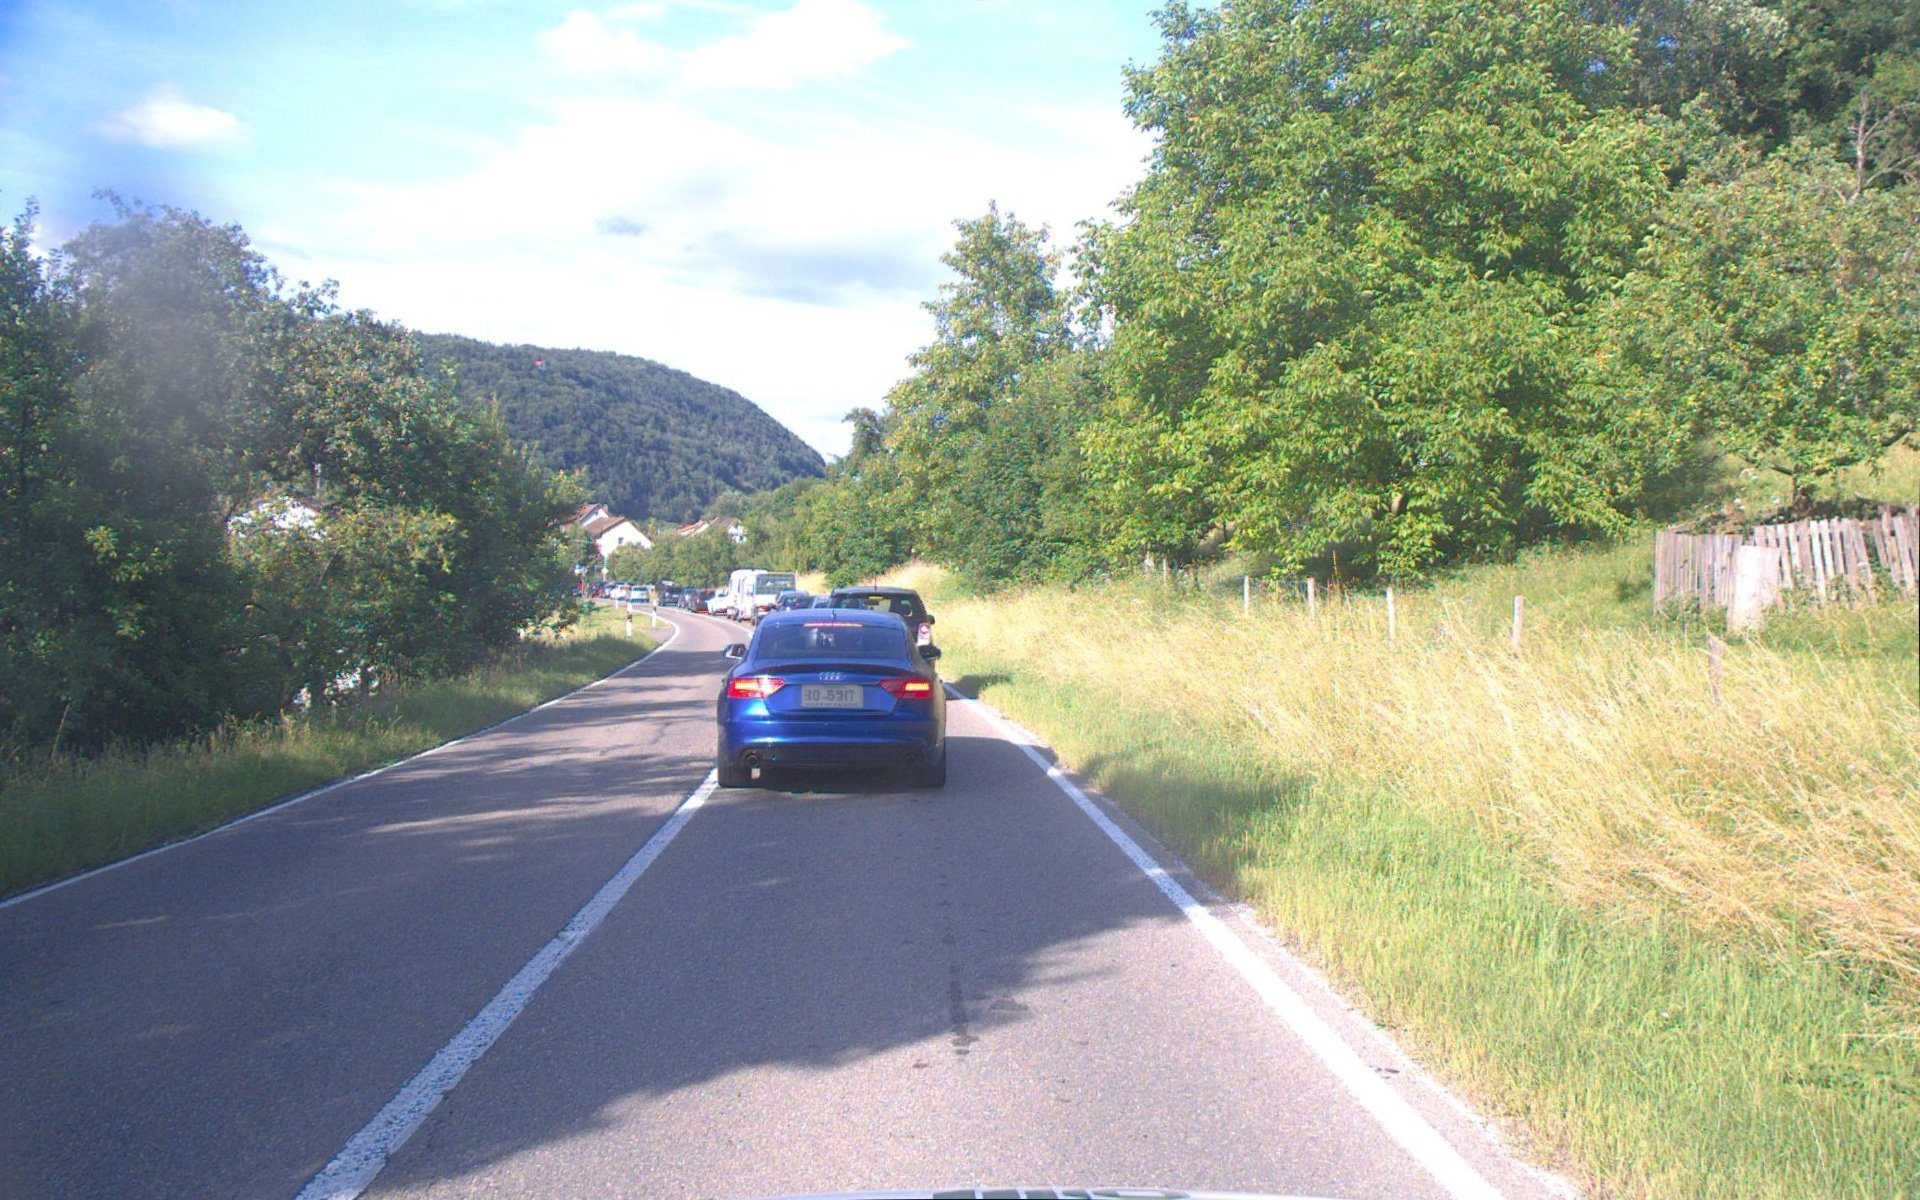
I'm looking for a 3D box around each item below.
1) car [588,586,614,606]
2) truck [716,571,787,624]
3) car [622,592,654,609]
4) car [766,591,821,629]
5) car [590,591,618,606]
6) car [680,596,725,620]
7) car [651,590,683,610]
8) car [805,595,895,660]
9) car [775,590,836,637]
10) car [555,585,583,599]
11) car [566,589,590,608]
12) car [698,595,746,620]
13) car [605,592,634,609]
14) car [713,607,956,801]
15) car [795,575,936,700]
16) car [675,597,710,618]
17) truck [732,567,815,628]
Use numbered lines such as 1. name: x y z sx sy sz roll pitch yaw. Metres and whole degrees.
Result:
1. car: -37.564 -0.373 172.974 1.967 2.049 3.971 1 0 -23
2. truck: -11.513 -0.150 90.661 2.815 2.712 10.609 1 0 -13
3. car: -28.978 0.044 148.593 1.968 1.508 3.969 1 0 -24
4. car: -6.758 0.403 67.022 1.957 1.508 3.991 1 0 -9
5. car: -35.700 -0.166 165.804 1.968 1.508 3.969 1 0 -24
6. car: -16.735 0.489 107.320 1.966 1.508 3.972 1 0 -22
7. car: -23.378 0.014 132.016 1.963 1.508 3.979 1 0 -18
8. car: -2.502 0.621 38.295 1.953 1.411 3.998 1 0 -2
9. car: -5.266 0.459 56.020 1.956 1.508 3.994 1 0 -7
10. car: -39.813 -0.829 168.329 1.968 1.400 3.968 1 0 -25
11. car: -43.127 -0.176 186.487 1.967 2.049 3.971 1 0 -23
12. car: -14.439 0.451 100.277 1.966 1.508 3.972 1 0 -22
13. car: -32.485 0.037 157.738 1.968 1.508 3.969 1 0 -24
14. car: -0.959 0.759 13.990 1.757 1.383 3.999 0 0 -1
15. car: -1.395 0.537 25.108 1.953 1.732 3.998 1 0 -2
16. car: -19.870 0.532 122.788 1.963 1.508 3.979 1 0 -18
17. truck: -9.079 -0.107 79.563 2.815 2.712 10.358 1 0 -13
